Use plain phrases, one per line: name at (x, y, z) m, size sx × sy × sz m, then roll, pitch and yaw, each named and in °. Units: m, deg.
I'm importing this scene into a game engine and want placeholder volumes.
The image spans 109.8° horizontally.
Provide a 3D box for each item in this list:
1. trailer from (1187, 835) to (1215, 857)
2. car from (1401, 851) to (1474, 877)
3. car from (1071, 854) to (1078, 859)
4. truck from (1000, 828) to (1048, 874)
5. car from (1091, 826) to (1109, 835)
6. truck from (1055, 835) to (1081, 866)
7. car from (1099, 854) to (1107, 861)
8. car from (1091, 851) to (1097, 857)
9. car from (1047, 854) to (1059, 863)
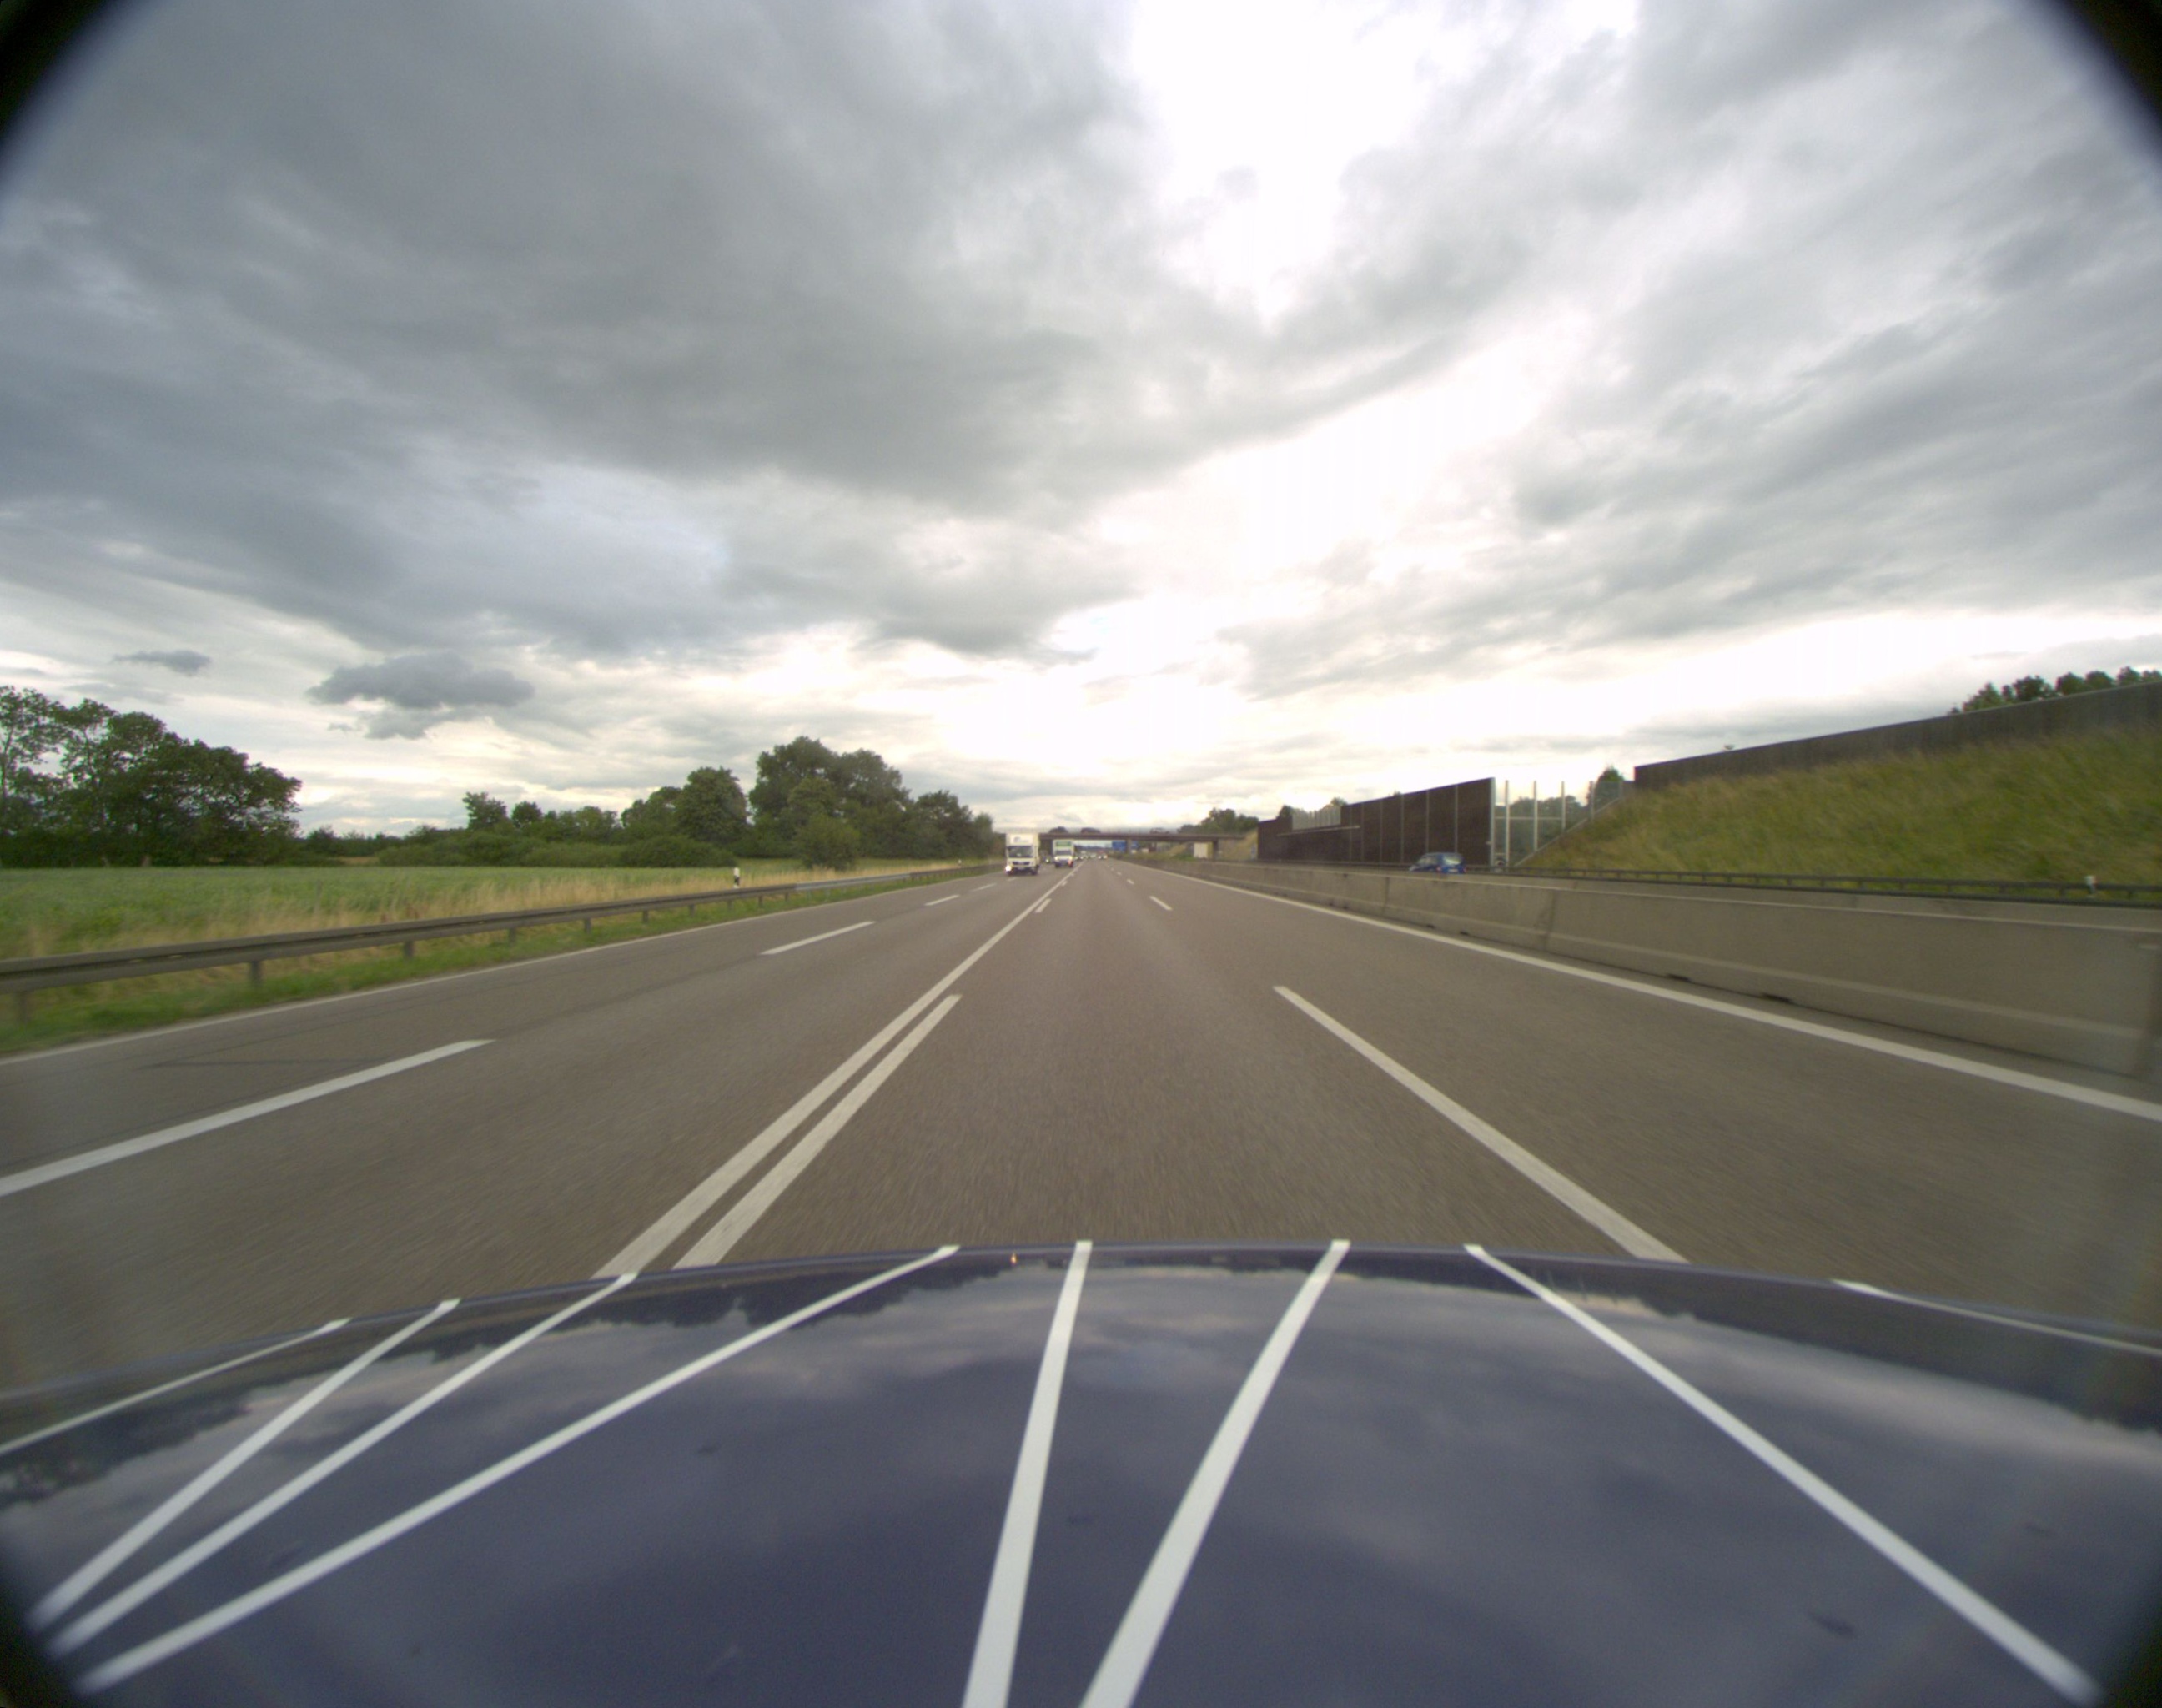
trailer at (23.858, -1.573, 151.394) m, size 3.680 × 3.957 × 12.678 m, roll -2°, pitch 0°, yaw 1°
car at (20.920, 0.540, 44.892) m, size 1.998 × 1.356 × 4.940 m, roll -2°, pitch 0°, yaw 1°
car at (-1.563, 0.661, 190.371) m, size 1.781 × 1.180 × 4.000 m, roll 0°, pitch 0°, yaw 1°
truck at (-4.613, -0.274, 63.333) m, size 3.112 × 3.450 × 8.890 m, roll -2°, pitch 0°, yaw 1°
car at (4.382, -5.579, 178.249) m, size 3.999 × 2.002 × 1.999 m, roll -2°, pitch 1°, yaw -7°
truck at (-1.577, -0.406, 93.912) m, size 2.777 × 3.484 × 9.062 m, roll -2°, pitch 0°, yaw 1°
car at (6.179, 1.039, 212.487) m, size 1.998 × 2.002 × 4.000 m, roll 0°, pitch 0°, yaw 1°
car at (3.948, 0.030, 230.397) m, size 1.998 × 2.002 × 4.000 m, roll 0°, pitch 0°, yaw 0°
car at (-4.885, 0.696, 133.257) m, size 1.922 × 1.541 × 4.923 m, roll 0°, pitch 0°, yaw 0°
